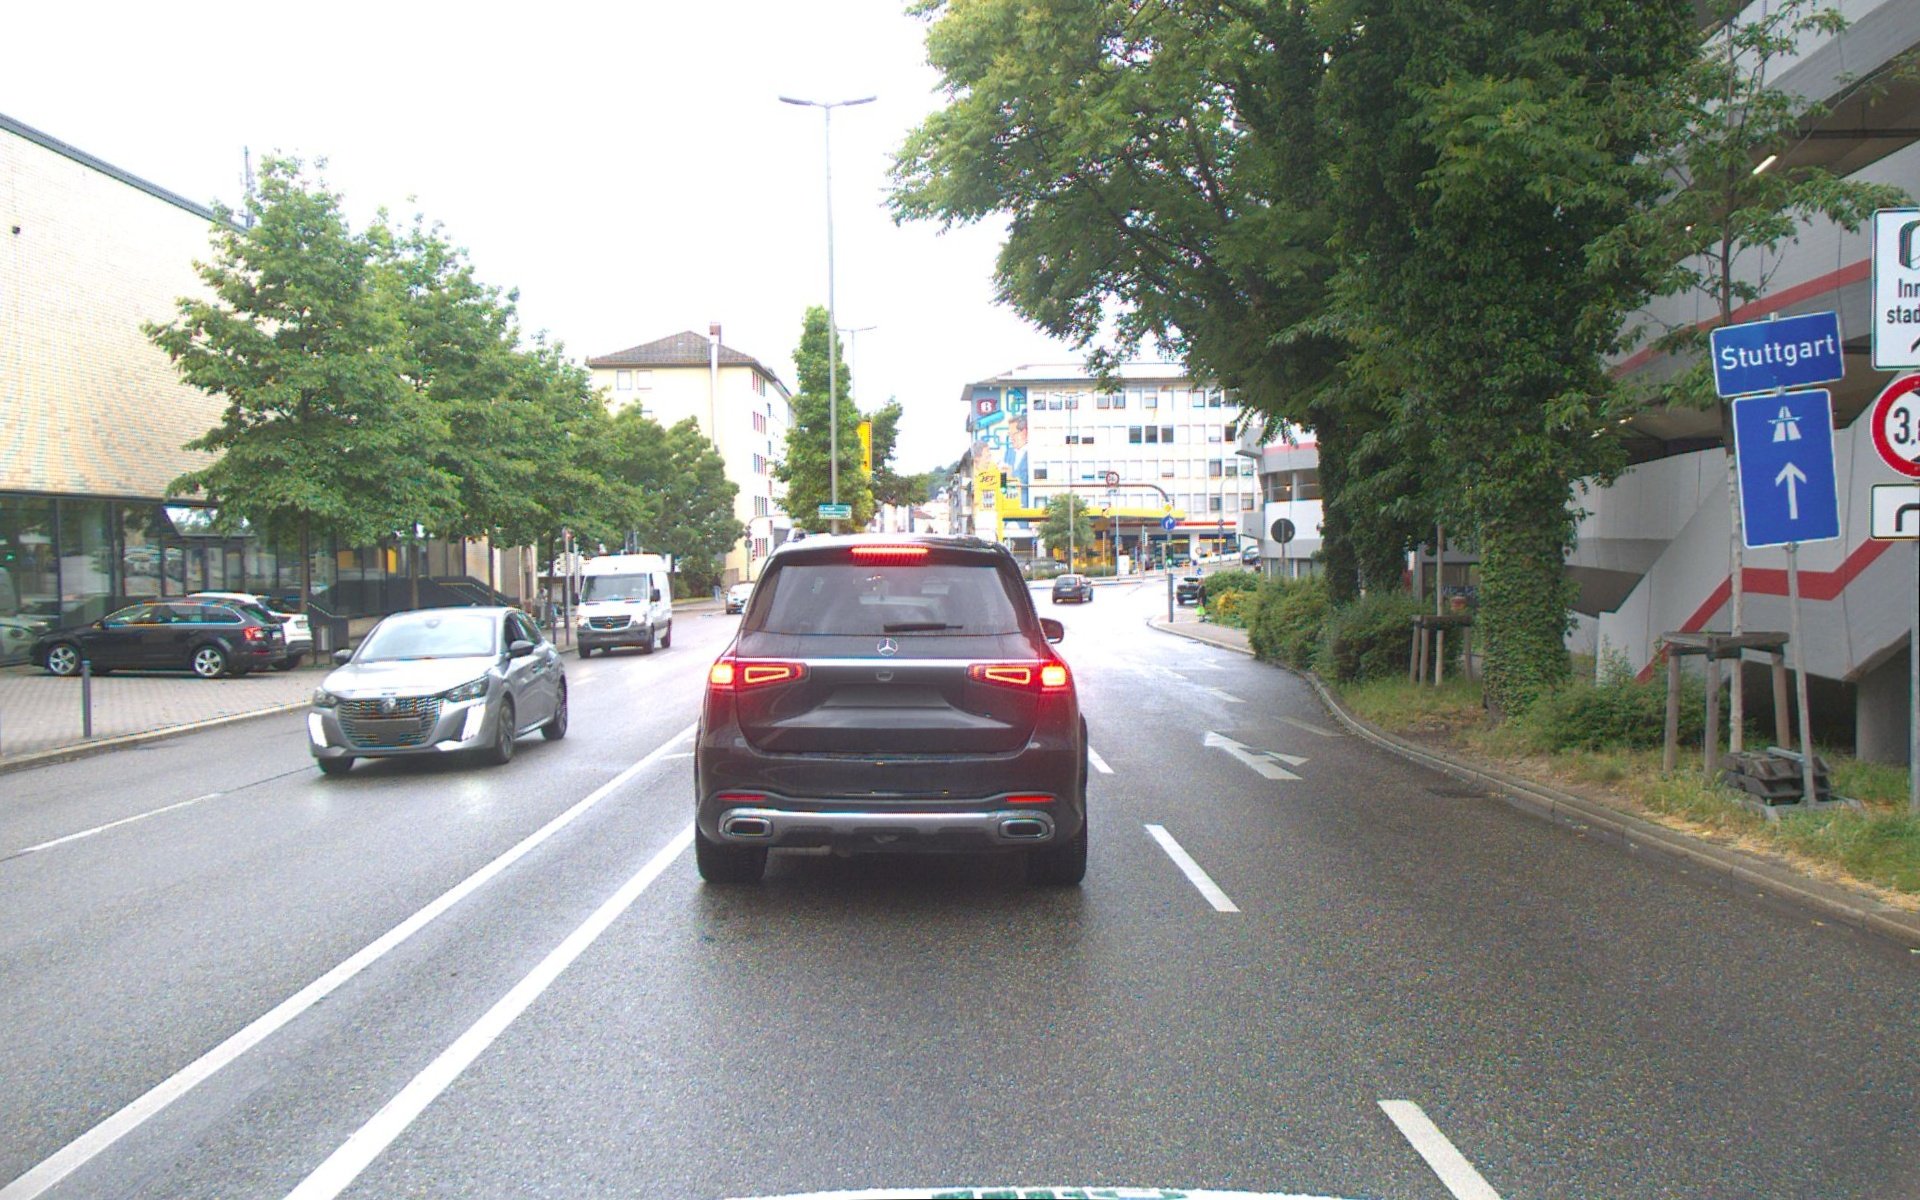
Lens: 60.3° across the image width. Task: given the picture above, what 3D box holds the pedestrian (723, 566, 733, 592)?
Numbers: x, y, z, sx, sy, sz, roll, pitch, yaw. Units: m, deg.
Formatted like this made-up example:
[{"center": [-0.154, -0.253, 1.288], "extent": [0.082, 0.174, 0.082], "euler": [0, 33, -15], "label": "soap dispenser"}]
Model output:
[{"center": [-16.000, -1.464, 114.159], "extent": [0.635, 1.757, 0.628], "euler": [-2, 1, -5], "label": "pedestrian"}]

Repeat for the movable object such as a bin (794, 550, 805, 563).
[{"center": [-13.679, -3.675, 140.866], "extent": [0.891, 1.056, 0.844], "euler": [1, 0, 0], "label": "movable object such as a bin"}]

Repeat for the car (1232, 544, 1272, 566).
[{"center": [24.513, -3.802, 138.818], "extent": [1.958, 1.735, 3.990], "euler": [-1, 1, 33], "label": "car"}]

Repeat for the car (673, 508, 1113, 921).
[{"center": [-0.328, 0.528, 9.462], "extent": [1.953, 1.832, 3.999], "euler": [1, 0, -1], "label": "car"}]

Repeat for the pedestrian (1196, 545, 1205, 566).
[{"center": [19.938, -3.693, 137.127], "extent": [0.515, 1.757, 0.689], "euler": [0, 1, 26], "label": "pedestrian"}]

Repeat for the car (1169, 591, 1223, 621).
[{"center": [12.359, 0.337, 86.413], "extent": [1.906, 1.512, 3.999], "euler": [1, 0, 22], "label": "car"}]

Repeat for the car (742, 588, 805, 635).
[{"center": [-6.457, 0.374, 57.689], "extent": [1.846, 1.524, 4.559], "euler": [-2, 0, -3], "label": "car"}]

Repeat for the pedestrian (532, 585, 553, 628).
[{"center": [-16.560, 0.250, 65.588], "extent": [0.630, 1.695, 1.017], "euler": [1, 0, -7], "label": "pedestrian"}]

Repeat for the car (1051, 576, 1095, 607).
[{"center": [5.980, -0.490, 87.077], "extent": [1.758, 1.552, 4.059], "euler": [1, 1, 12], "label": "car"}]

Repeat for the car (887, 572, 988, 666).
[{"center": [-0.470, 0.387, 34.650], "extent": [1.953, 1.832, 3.999], "euler": [1, 0, -1], "label": "car"}]

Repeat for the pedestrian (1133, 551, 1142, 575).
[{"center": [12.947, -2.663, 120.576], "extent": [0.560, 1.727, 0.631], "euler": [1, -1, 0], "label": "pedestrian"}]

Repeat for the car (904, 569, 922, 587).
[{"center": [-5.530, -2.550, 194.733], "extent": [1.953, 2.049, 4.000], "euler": [1, 0, 0], "label": "car"}]

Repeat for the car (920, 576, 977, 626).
[{"center": [-0.402, 0.037, 56.883], "extent": [1.869, 1.614, 3.999], "euler": [1, 0, -1], "label": "car"}]

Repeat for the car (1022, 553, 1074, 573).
[{"center": [6.847, -2.890, 128.662], "extent": [1.724, 1.400, 3.935], "euler": [-3, 1, -44], "label": "car"}]

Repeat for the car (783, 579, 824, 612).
[{"center": [-7.584, -0.207, 80.420], "extent": [1.776, 1.487, 4.285], "euler": [-3, 0, -3], "label": "car"}]

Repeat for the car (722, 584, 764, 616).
[{"center": [-10.714, 0.008, 81.957], "extent": [1.761, 1.521, 3.801], "euler": [1, 0, -3], "label": "car"}]

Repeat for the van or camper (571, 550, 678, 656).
[{"center": [-9.124, 0.067, 45.428], "extent": [2.061, 2.627, 5.903], "euler": [-2, 0, -4], "label": "van or camper"}]

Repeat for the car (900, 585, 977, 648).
[{"center": [-0.566, 0.426, 42.903], "extent": [1.869, 1.527, 3.999], "euler": [1, 0, -1], "label": "car"}]

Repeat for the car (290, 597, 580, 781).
[{"center": [-4.966, 0.764, 16.191], "extent": [1.706, 1.496, 3.880], "euler": [-2, 0, -3], "label": "car"}]

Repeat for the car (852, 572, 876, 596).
[{"center": [-7.680, -1.280, 132.228], "extent": [1.830, 1.871, 3.818], "euler": [1, 0, -2], "label": "car"}]

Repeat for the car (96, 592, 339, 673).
[{"center": [-15.329, 0.660, 34.322], "extent": [4.090, 1.574, 2.000], "euler": [1, 0, 0], "label": "car"}]

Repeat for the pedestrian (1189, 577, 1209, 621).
[{"center": [9.453, -0.028, 65.519], "extent": [0.634, 1.740, 0.470], "euler": [0, -1, 35], "label": "pedestrian"}]

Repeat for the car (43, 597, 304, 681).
[{"center": [-15.128, 0.745, 32.021], "extent": [4.097, 1.521, 1.997], "euler": [1, 0, -8], "label": "car"}]
